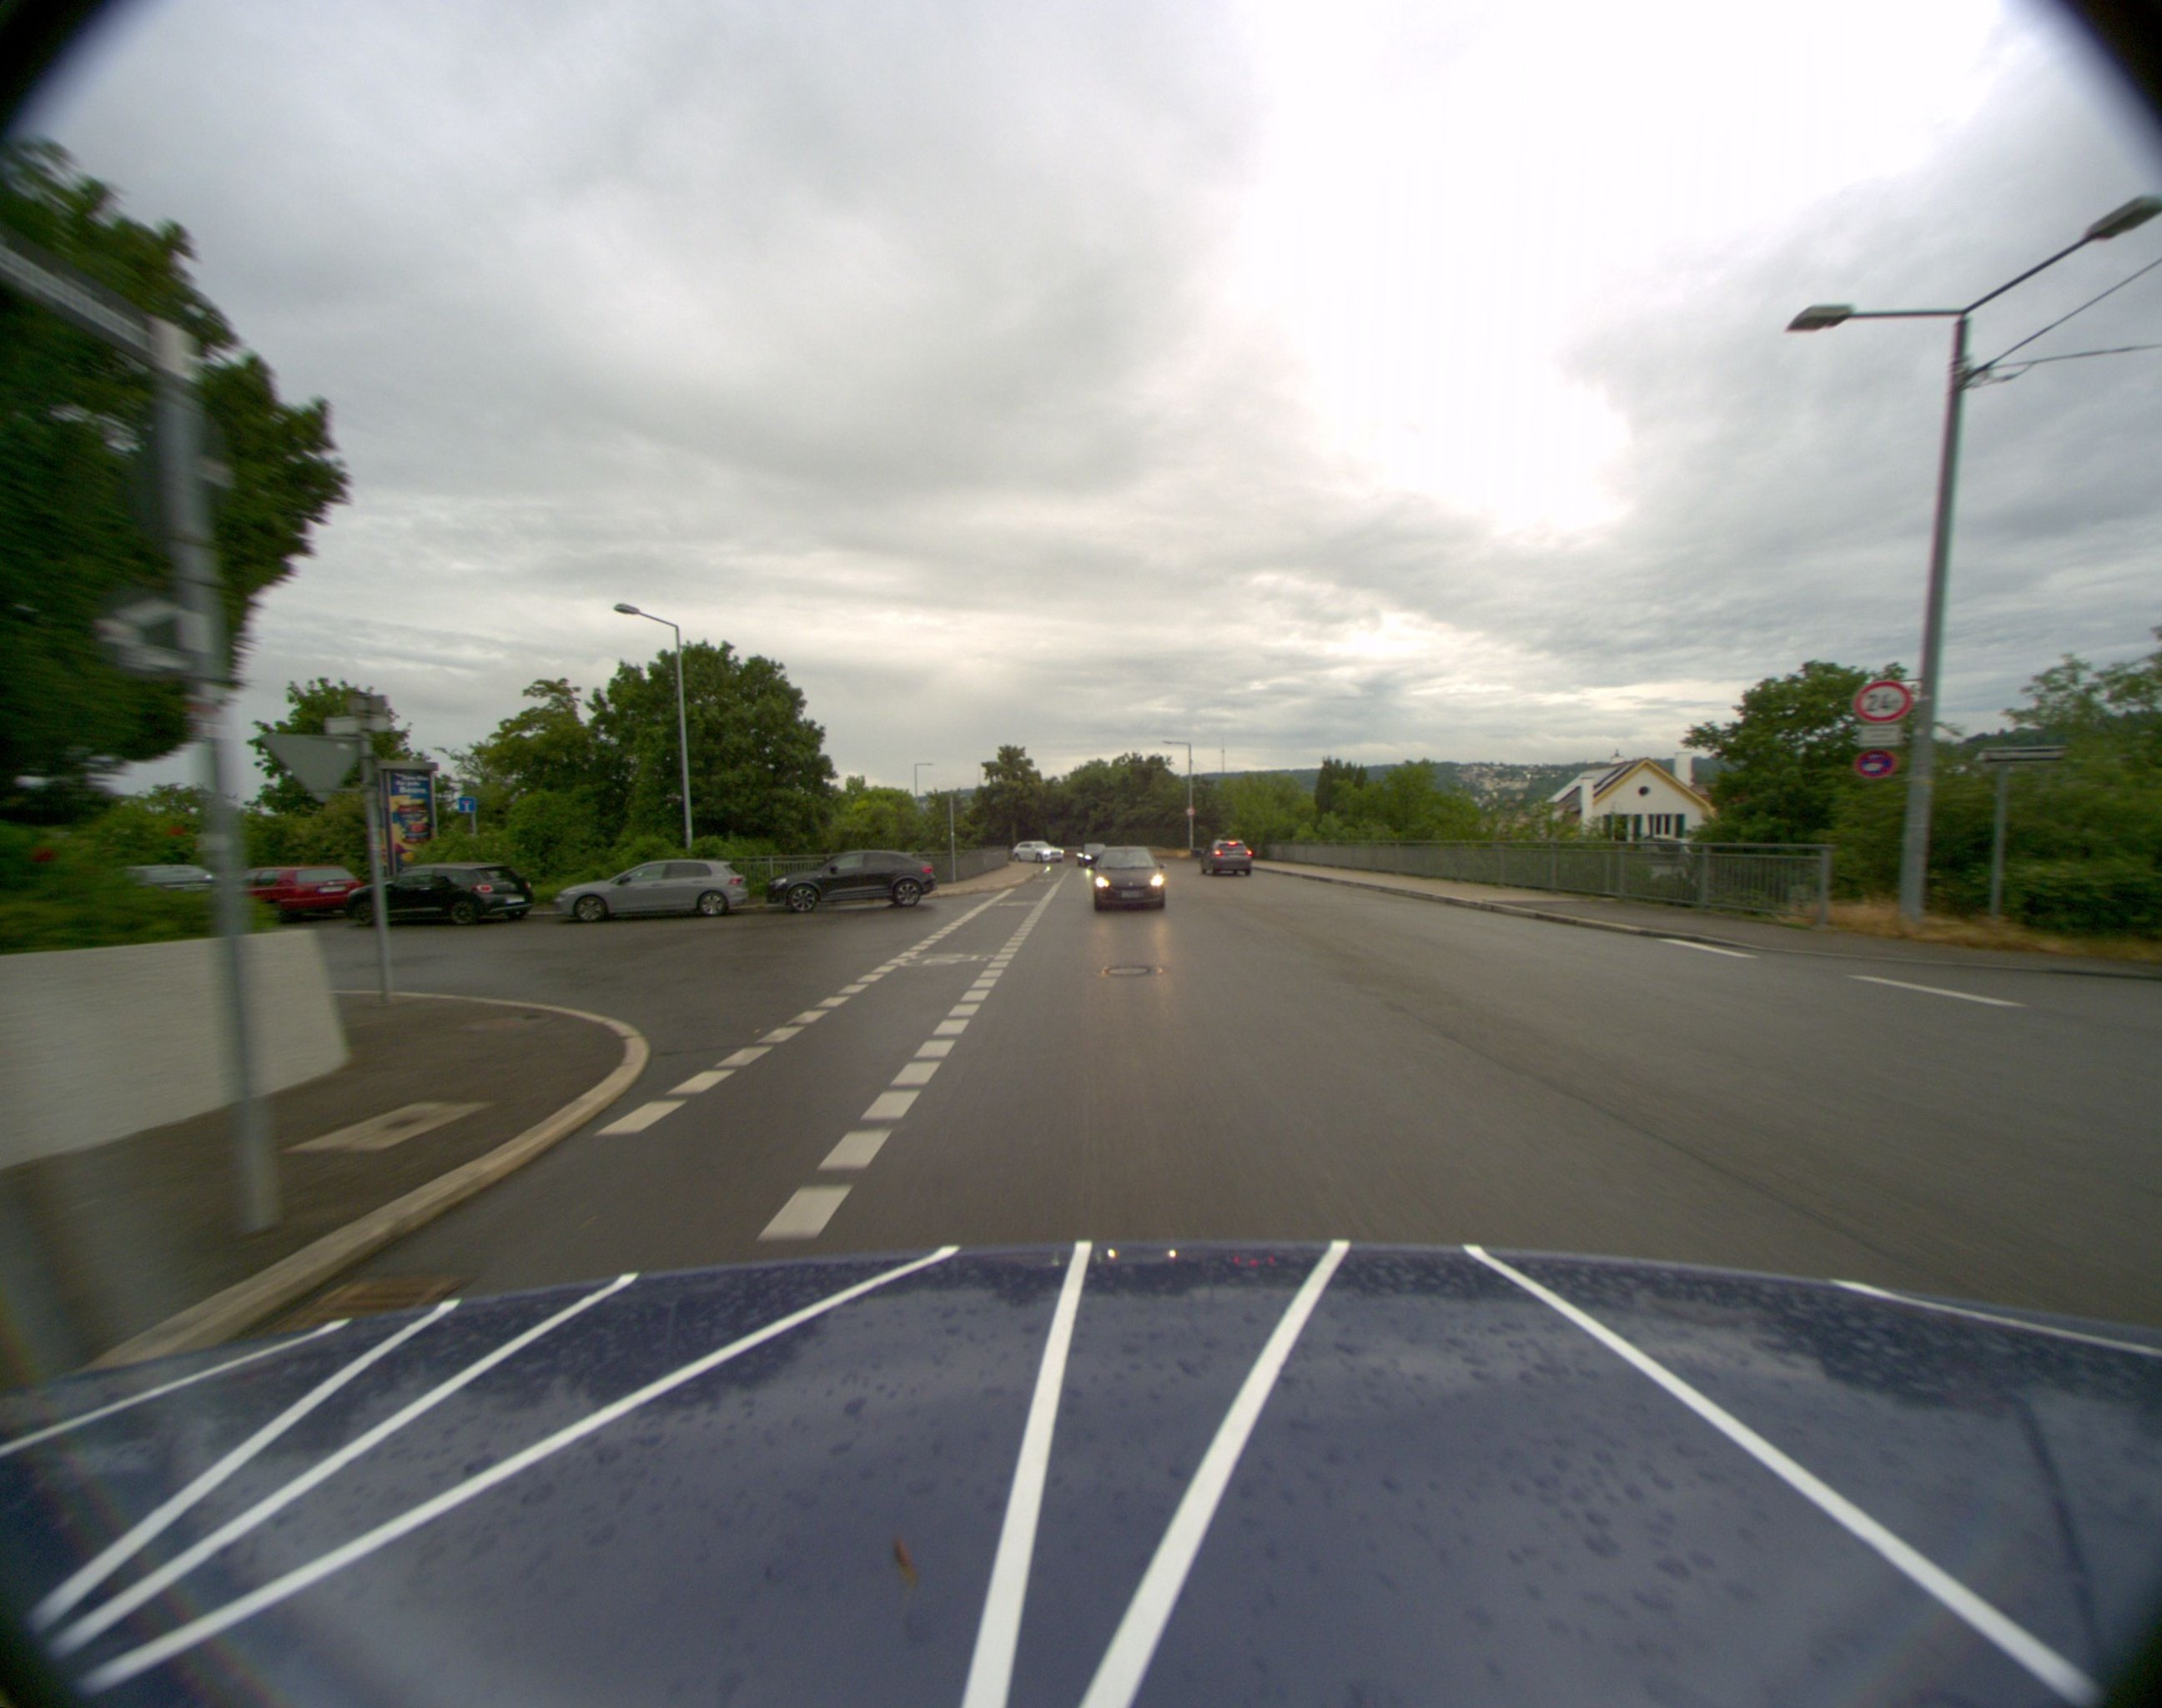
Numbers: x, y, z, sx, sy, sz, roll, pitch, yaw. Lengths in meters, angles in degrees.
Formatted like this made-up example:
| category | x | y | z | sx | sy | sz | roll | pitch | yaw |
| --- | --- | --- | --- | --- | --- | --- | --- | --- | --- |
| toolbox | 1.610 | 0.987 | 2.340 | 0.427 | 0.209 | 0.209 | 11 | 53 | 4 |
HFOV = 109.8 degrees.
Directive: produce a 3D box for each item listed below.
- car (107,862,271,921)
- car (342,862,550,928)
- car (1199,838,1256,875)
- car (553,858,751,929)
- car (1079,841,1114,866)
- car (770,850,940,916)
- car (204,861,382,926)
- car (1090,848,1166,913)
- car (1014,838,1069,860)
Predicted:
| category | x | y | z | sx | sy | sz | roll | pitch | yaw |
| --- | --- | --- | --- | --- | --- | --- | --- | --- | --- |
| car | -25.728 | 1.037 | 21.938 | 3.594 | 1.481 | 1.765 | -1 | 3 | 18 |
| car | -15.509 | 0.974 | 18.691 | 3.598 | 1.480 | 1.841 | -1 | 1 | 4 |
| car | 6.485 | 0.077 | 34.096 | 1.738 | 1.537 | 3.998 | 0 | 2 | -1 |
| car | -10.611 | 0.918 | 19.153 | 4.060 | 1.417 | 1.797 | -2 | 3 | -21 |
| car | 0.934 | -0.061 | 47.488 | 1.766 | 1.445 | 4.398 | -1 | 0 | -4 |
| car | -6.225 | 0.730 | 20.892 | 4.206 | 1.514 | 1.996 | -2 | 1 | -23 |
| car | -20.647 | 0.993 | 19.941 | 3.594 | 1.481 | 1.765 | -1 | 3 | 18 |
| car | 1.150 | 0.582 | 18.938 | 1.680 | 1.405 | 3.637 | -1 | 1 | 3 |
| car | -3.088 | -0.379 | 58.309 | 1.893 | 1.566 | 4.580 | -3 | 2 | -38 |
